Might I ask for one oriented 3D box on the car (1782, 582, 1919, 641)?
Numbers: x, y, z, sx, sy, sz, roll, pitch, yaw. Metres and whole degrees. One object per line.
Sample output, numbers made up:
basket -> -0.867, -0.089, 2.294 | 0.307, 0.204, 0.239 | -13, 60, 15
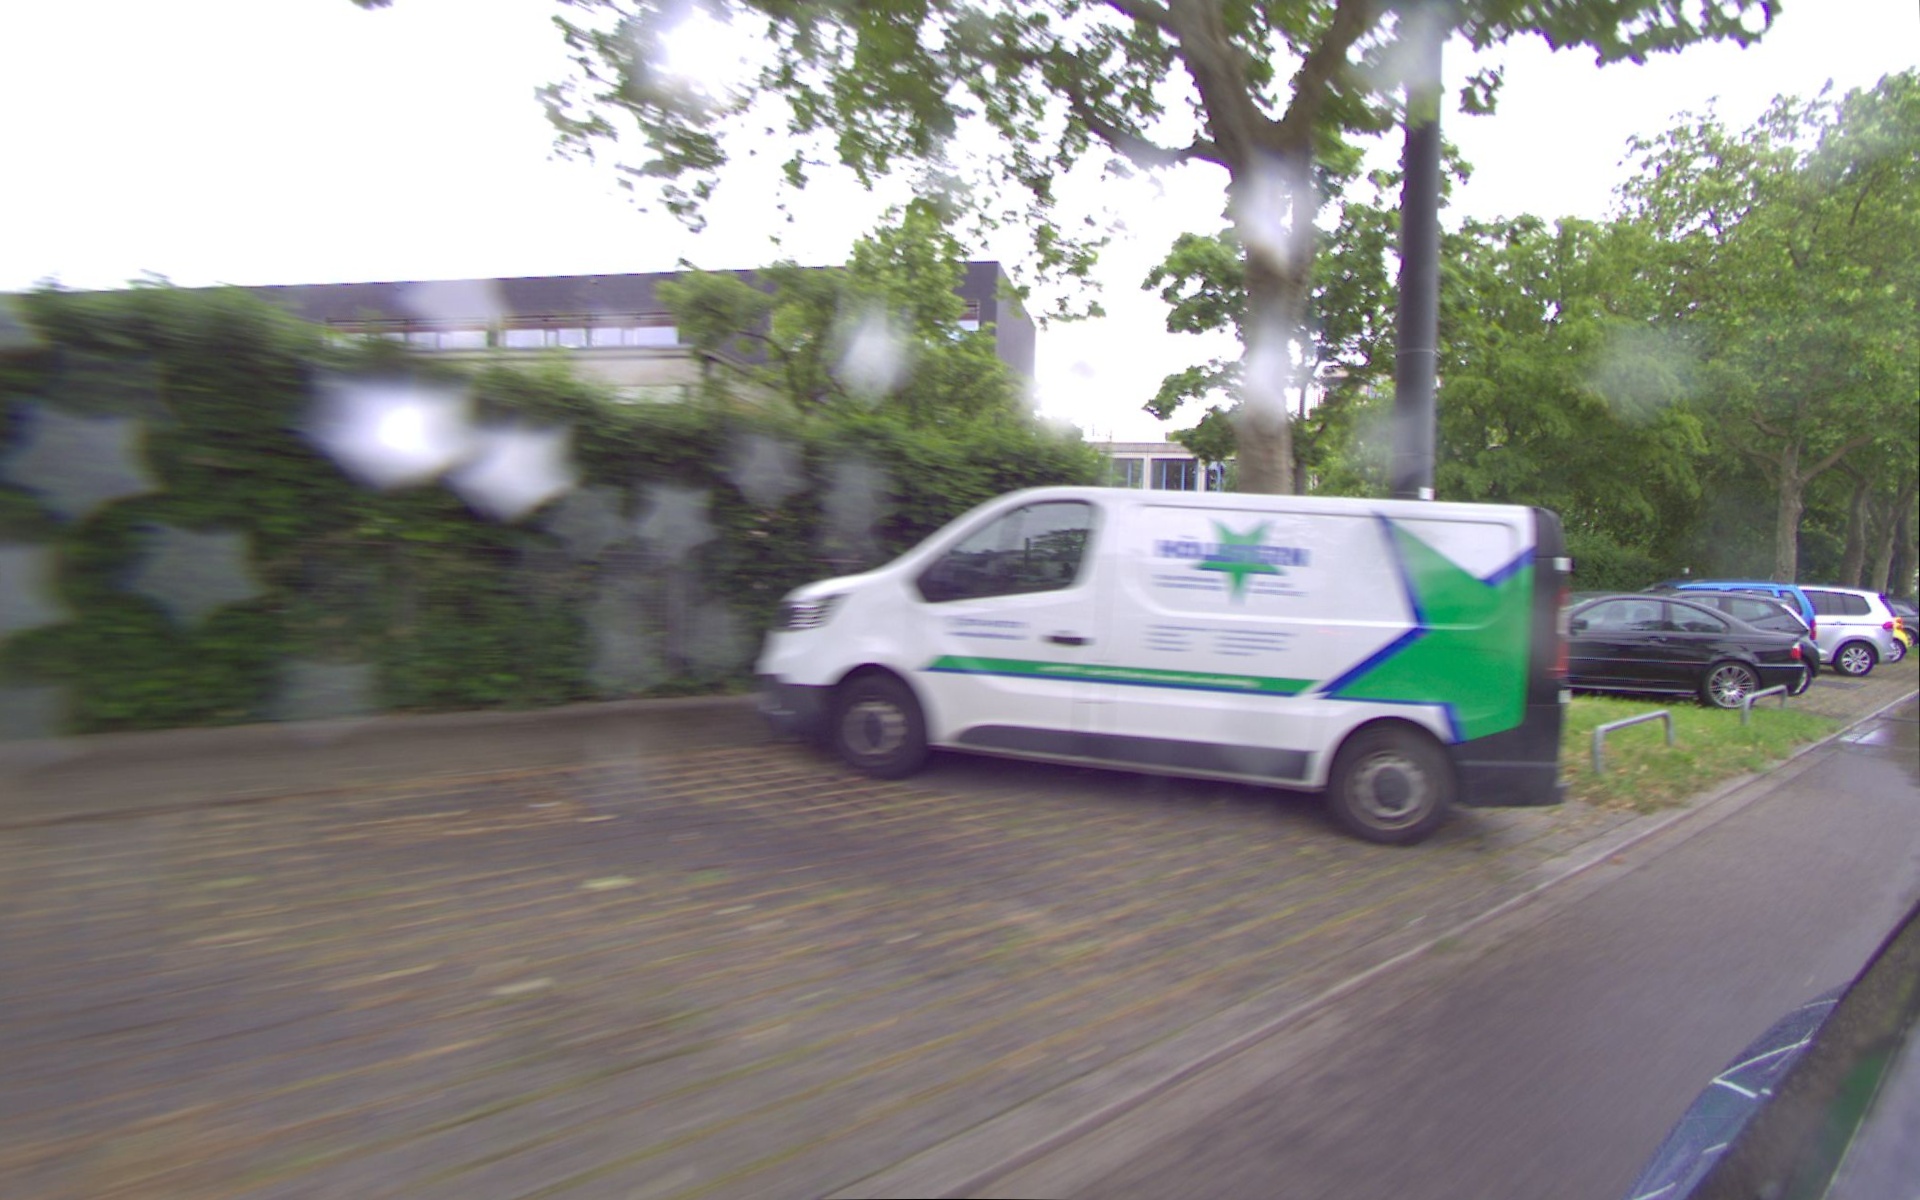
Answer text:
car -> 27.951, 0.349, 30.988 | 3.753, 1.551, 1.874 | 4, 2, 16

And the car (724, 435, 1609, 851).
car -> 1.153, 0.103, 6.877 | 4.958, 2.038, 1.991 | 4, 2, 15

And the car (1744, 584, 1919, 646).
car -> 25.296, 0.408, 29.001 | 4.002, 1.435, 1.737 | 4, 3, 13

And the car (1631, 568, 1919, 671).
car -> 15.506, 0.310, 19.375 | 3.985, 1.661, 1.650 | 3, 3, 11

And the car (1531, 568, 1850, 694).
car -> 10.952, 0.401, 15.454 | 3.352, 1.536, 1.845 | 4, 3, 12

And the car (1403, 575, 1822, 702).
car -> 8.350, 0.430, 13.348 | 4.236, 1.401, 1.736 | 2, 1, 10

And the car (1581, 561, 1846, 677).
car -> 13.016, 0.270, 17.700 | 3.229, 1.691, 1.586 | 4, 3, 15

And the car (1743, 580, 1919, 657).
car -> 20.238, 0.388, 23.418 | 2.870, 1.483, 1.594 | 4, 4, 20
